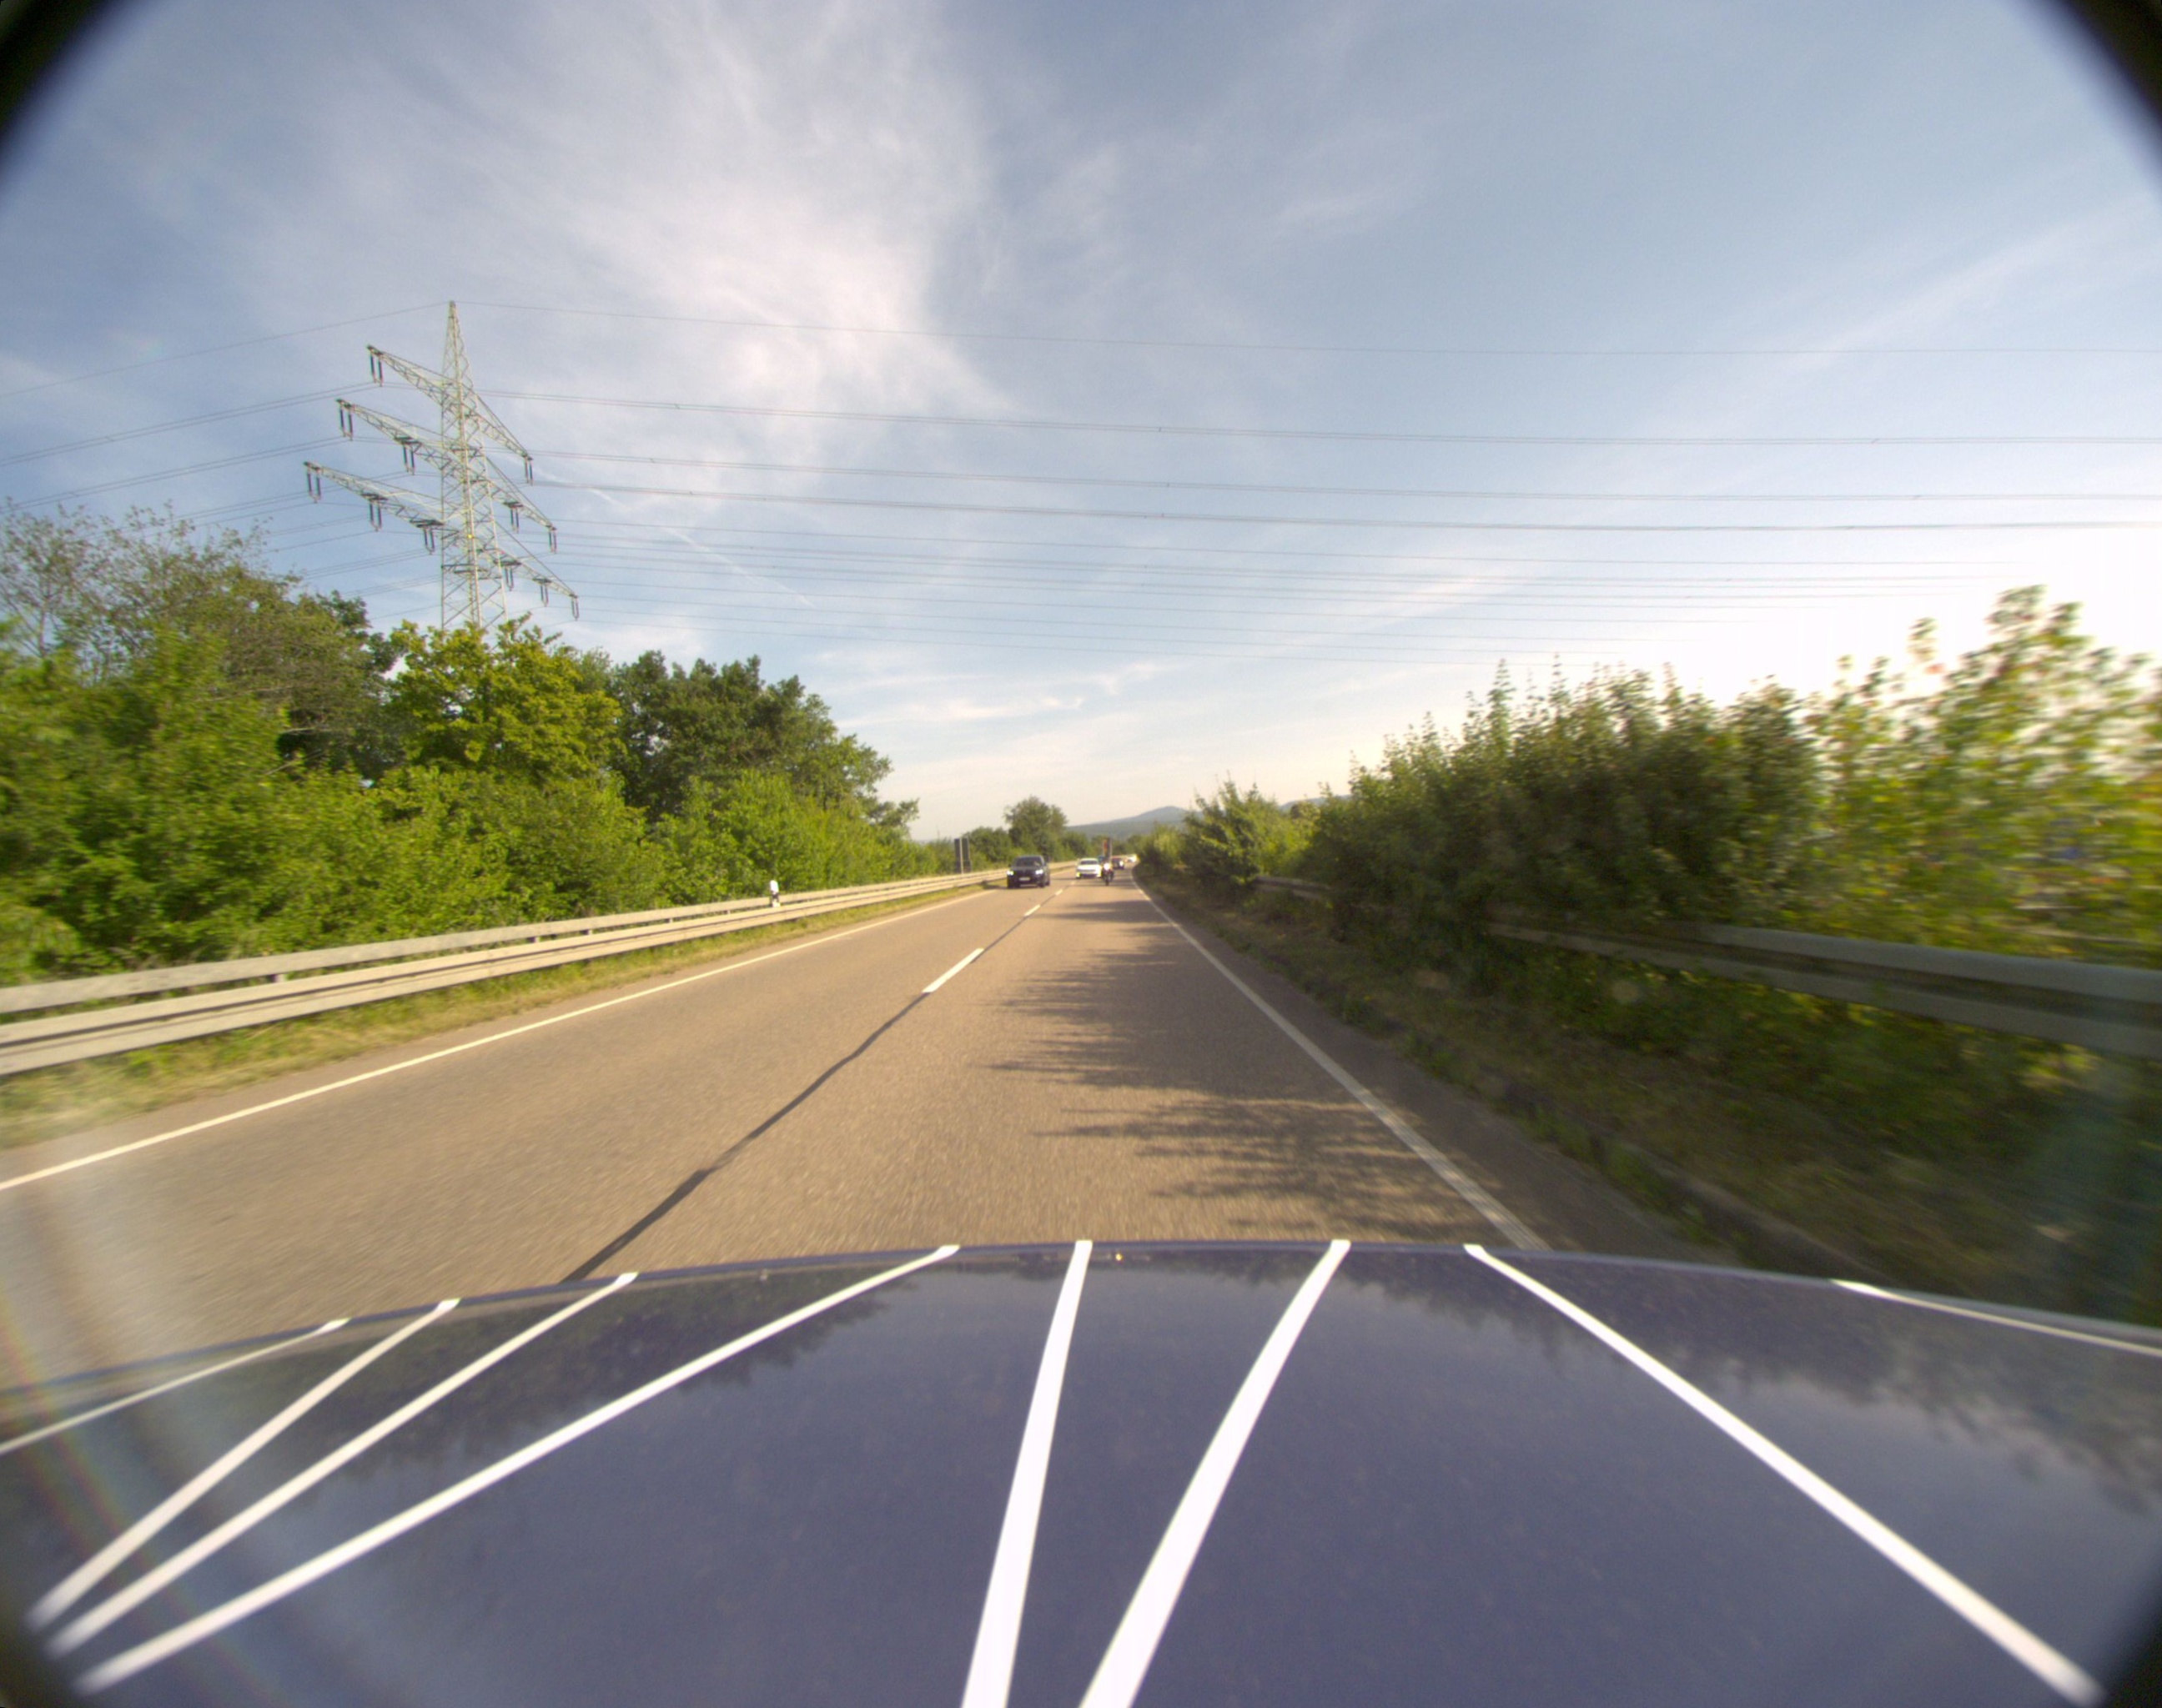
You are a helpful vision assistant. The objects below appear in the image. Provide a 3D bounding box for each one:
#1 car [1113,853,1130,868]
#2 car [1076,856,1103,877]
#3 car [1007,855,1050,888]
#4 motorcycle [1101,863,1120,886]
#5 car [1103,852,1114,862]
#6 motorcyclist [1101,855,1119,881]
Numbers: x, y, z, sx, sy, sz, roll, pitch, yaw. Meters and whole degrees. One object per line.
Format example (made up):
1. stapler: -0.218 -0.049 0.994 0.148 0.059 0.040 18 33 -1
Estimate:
1. car: 4.406 0.722 82.783 1.677 1.541 3.827 -2 1 3
2. car: 0.582 0.896 55.377 1.869 1.454 4.083 -2 0 0
3. car: -2.807 0.921 41.366 1.878 1.630 4.000 -2 0 3
4. motorcycle: 1.585 1.071 41.090 0.937 1.131 2.582 -1 1 1
5. car: 4.501 0.466 123.335 1.677 1.541 3.827 -2 1 3
6. motorcyclist: 1.572 0.766 41.100 0.937 1.344 1.142 -1 1 1
